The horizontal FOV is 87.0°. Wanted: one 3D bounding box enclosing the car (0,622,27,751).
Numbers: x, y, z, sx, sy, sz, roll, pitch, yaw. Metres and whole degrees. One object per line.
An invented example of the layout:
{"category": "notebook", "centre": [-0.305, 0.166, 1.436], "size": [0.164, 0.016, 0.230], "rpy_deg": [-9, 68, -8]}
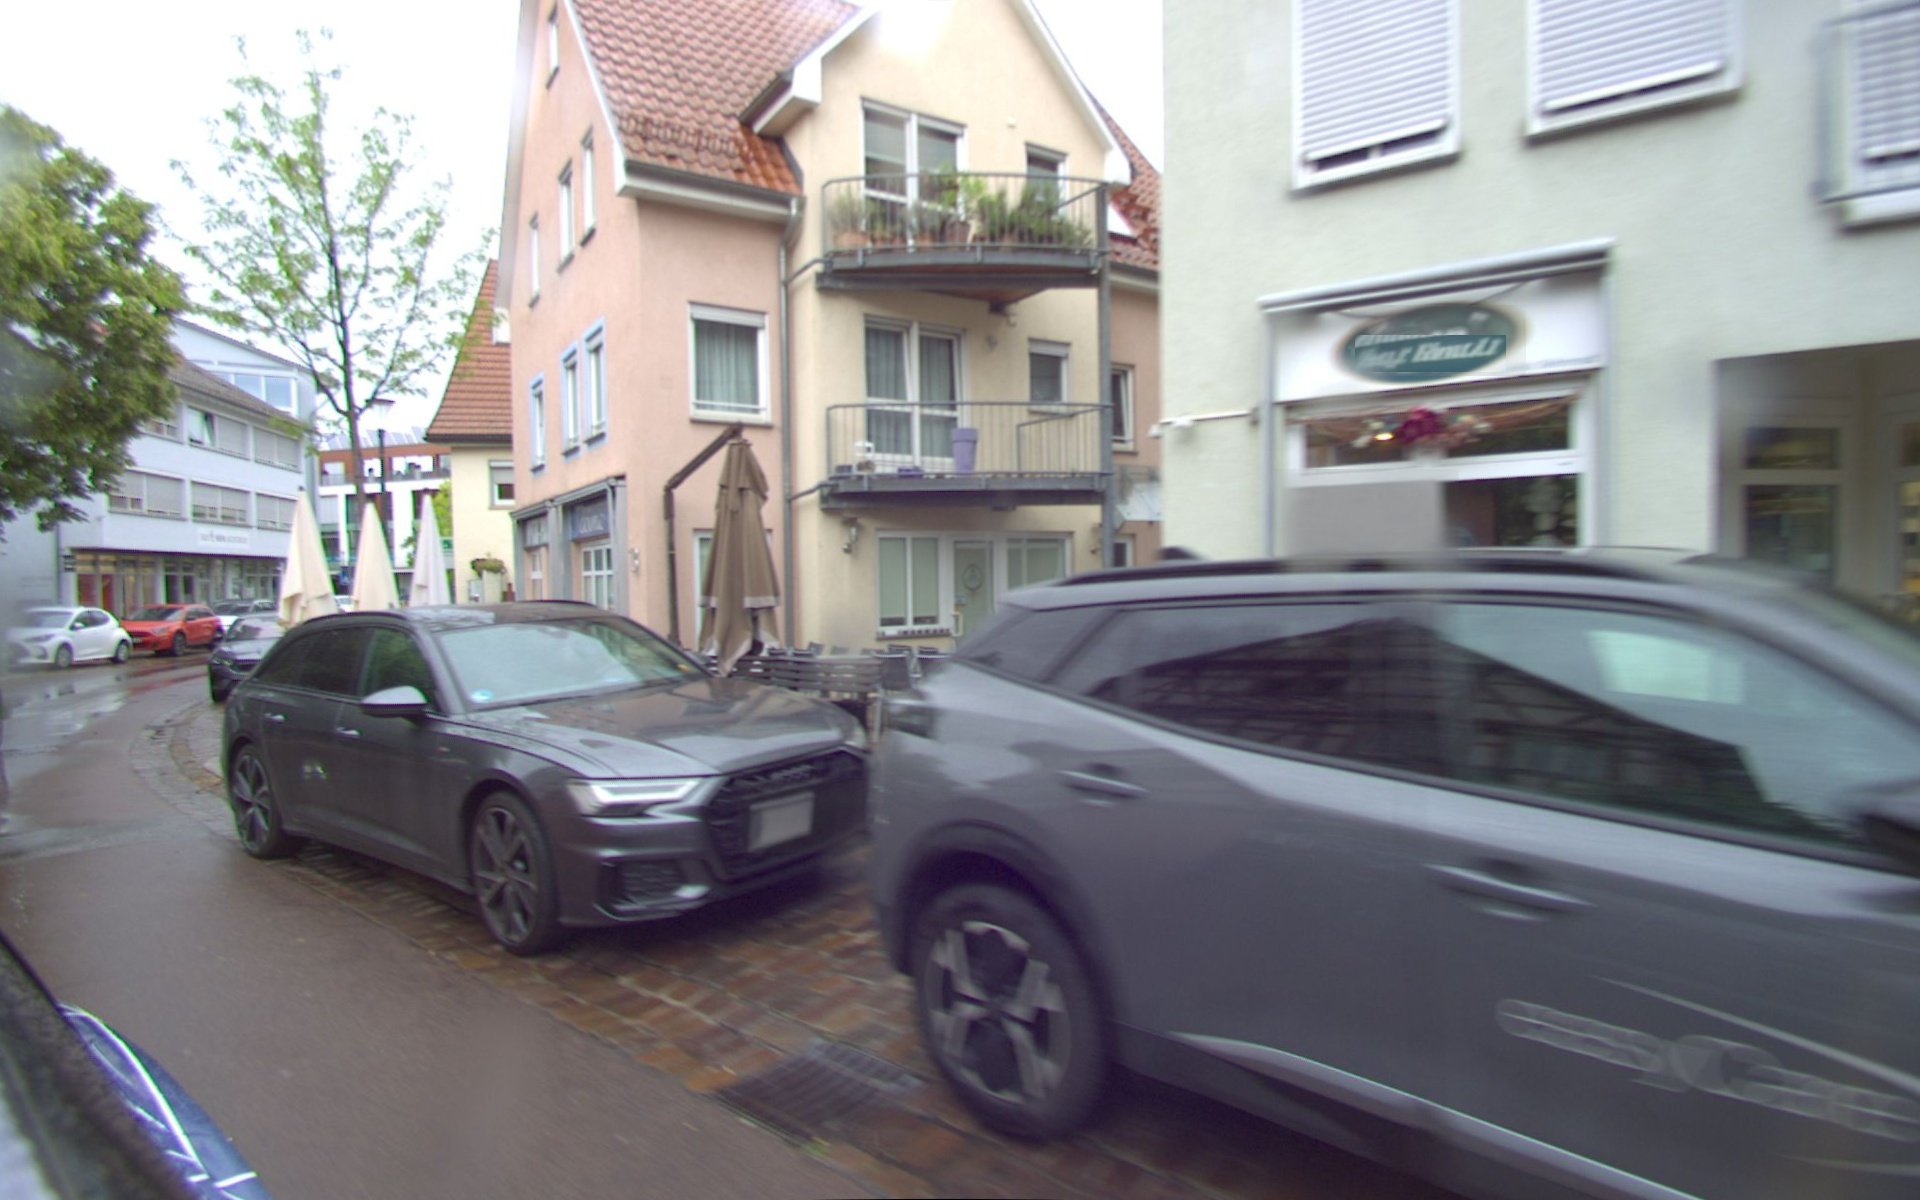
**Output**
{"category": "car", "centre": [-10.685, 0.955, 9.443], "size": [1.966, 1.417, 4.908], "rpy_deg": [-2, 0, -31]}

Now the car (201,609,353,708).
{"category": "car", "centre": [-12.288, 0.946, 18.483], "size": [1.966, 1.465, 4.388], "rpy_deg": [-1, 1, -30]}

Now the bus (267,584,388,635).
{"category": "bus", "centre": [-43.961, 0.574, 70.203], "size": [10.656, 3.325, 2.651], "rpy_deg": [0, 1, 32]}

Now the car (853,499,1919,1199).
{"category": "car", "centre": [1.671, 0.619, 2.257], "size": [3.977, 1.557, 1.575], "rpy_deg": [0, 1, 43]}

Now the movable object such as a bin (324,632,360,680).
{"category": "movable object such as a bin", "centre": [-15.188, 1.360, 24.892], "size": [0.650, 1.117, 0.626], "rpy_deg": [-1, 1, -21]}

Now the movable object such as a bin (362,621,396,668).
{"category": "movable object such as a bin", "centre": [-14.480, 1.099, 25.232], "size": [0.650, 1.117, 0.626], "rpy_deg": [-1, 1, -21]}

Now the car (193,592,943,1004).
{"category": "car", "centre": [-2.456, 0.691, 5.700], "size": [4.620, 1.443, 1.785], "rpy_deg": [0, 1, 37]}

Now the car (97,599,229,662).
{"category": "car", "centre": [-23.924, 0.846, 30.554], "size": [1.667, 1.702, 3.969], "rpy_deg": [-1, 1, -15]}

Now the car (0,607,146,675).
{"category": "car", "centre": [-22.660, 0.987, 25.543], "size": [1.667, 1.551, 4.415], "rpy_deg": [-1, -1, -15]}

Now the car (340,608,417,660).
{"category": "car", "centre": [-17.444, 0.973, 30.493], "size": [1.666, 1.433, 3.829], "rpy_deg": [-1, 0, -25]}

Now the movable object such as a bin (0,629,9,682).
{"category": "movable object such as a bin", "centre": [-21.566, 1.228, 22.461], "size": [0.526, 1.158, 0.502], "rpy_deg": [-1, 1, -23]}

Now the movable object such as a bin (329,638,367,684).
{"category": "movable object such as a bin", "centre": [-15.472, 1.535, 25.582], "size": [0.682, 1.095, 0.548], "rpy_deg": [-3, 2, -21]}

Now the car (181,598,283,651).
{"category": "car", "centre": [-25.738, 0.804, 35.959], "size": [1.666, 1.702, 4.292], "rpy_deg": [-1, 1, -17]}
